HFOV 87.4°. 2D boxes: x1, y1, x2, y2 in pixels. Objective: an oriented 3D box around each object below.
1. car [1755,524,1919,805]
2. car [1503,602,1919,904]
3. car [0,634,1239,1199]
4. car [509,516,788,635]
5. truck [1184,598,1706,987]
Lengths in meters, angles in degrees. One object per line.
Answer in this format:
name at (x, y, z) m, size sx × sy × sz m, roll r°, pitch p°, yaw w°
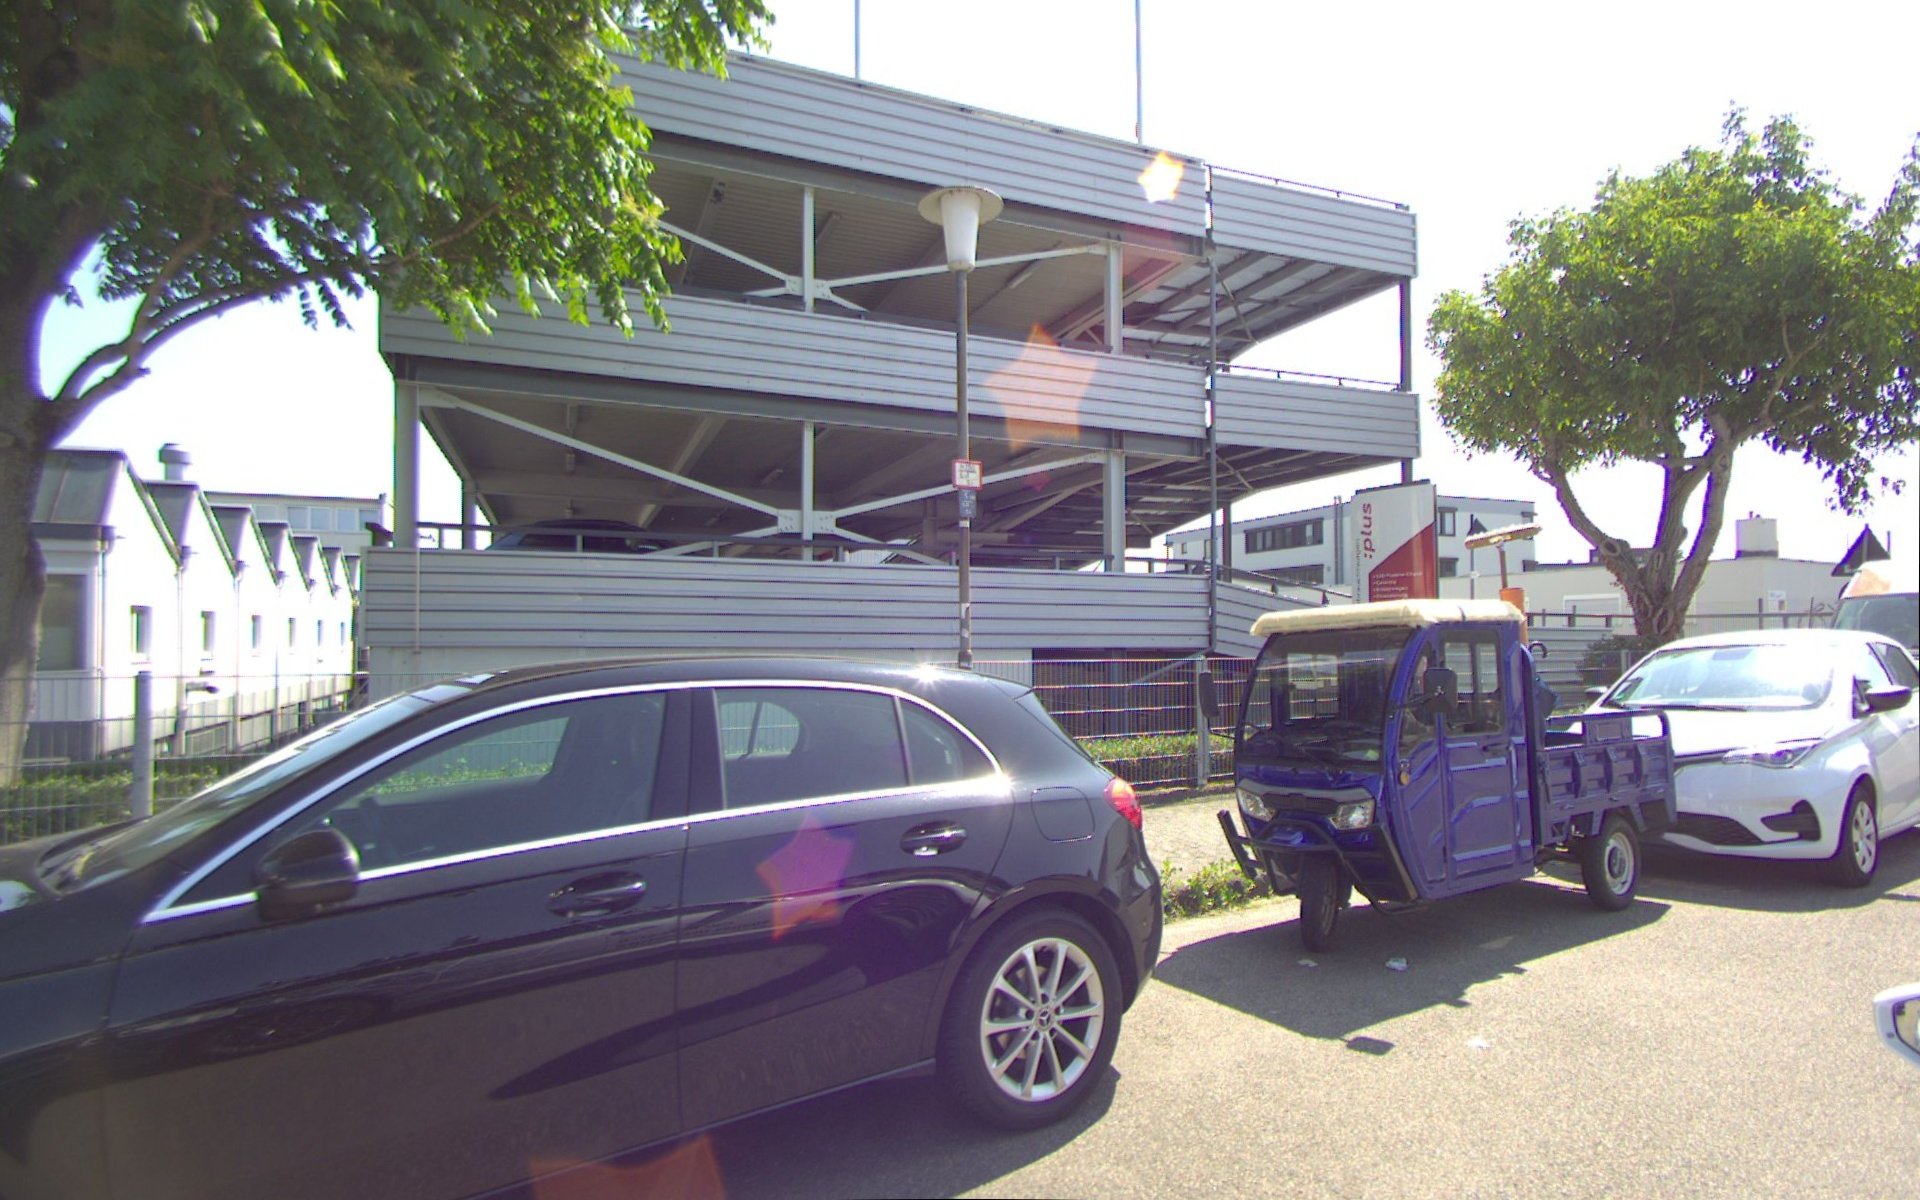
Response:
car at (10.306, 0.596, 10.082) m, size 5.172 × 2.397 × 1.995 m, roll 1°, pitch -4°, yaw -33°
car at (5.838, 0.924, 7.348) m, size 3.934 × 1.645 × 1.694 m, roll 2°, pitch -4°, yaw -35°
car at (-1.244, 0.868, 3.027) m, size 4.067 × 1.482 × 1.696 m, roll 1°, pitch -4°, yaw -31°
car at (-5.011, -0.354, 16.543) m, size 3.920 × 1.693 × 1.819 m, roll 2°, pitch -2°, yaw 3°
truck at (2.797, 0.878, 5.620) m, size 3.107 × 1.643 × 1.132 m, roll 1°, pitch -4°, yaw -33°
